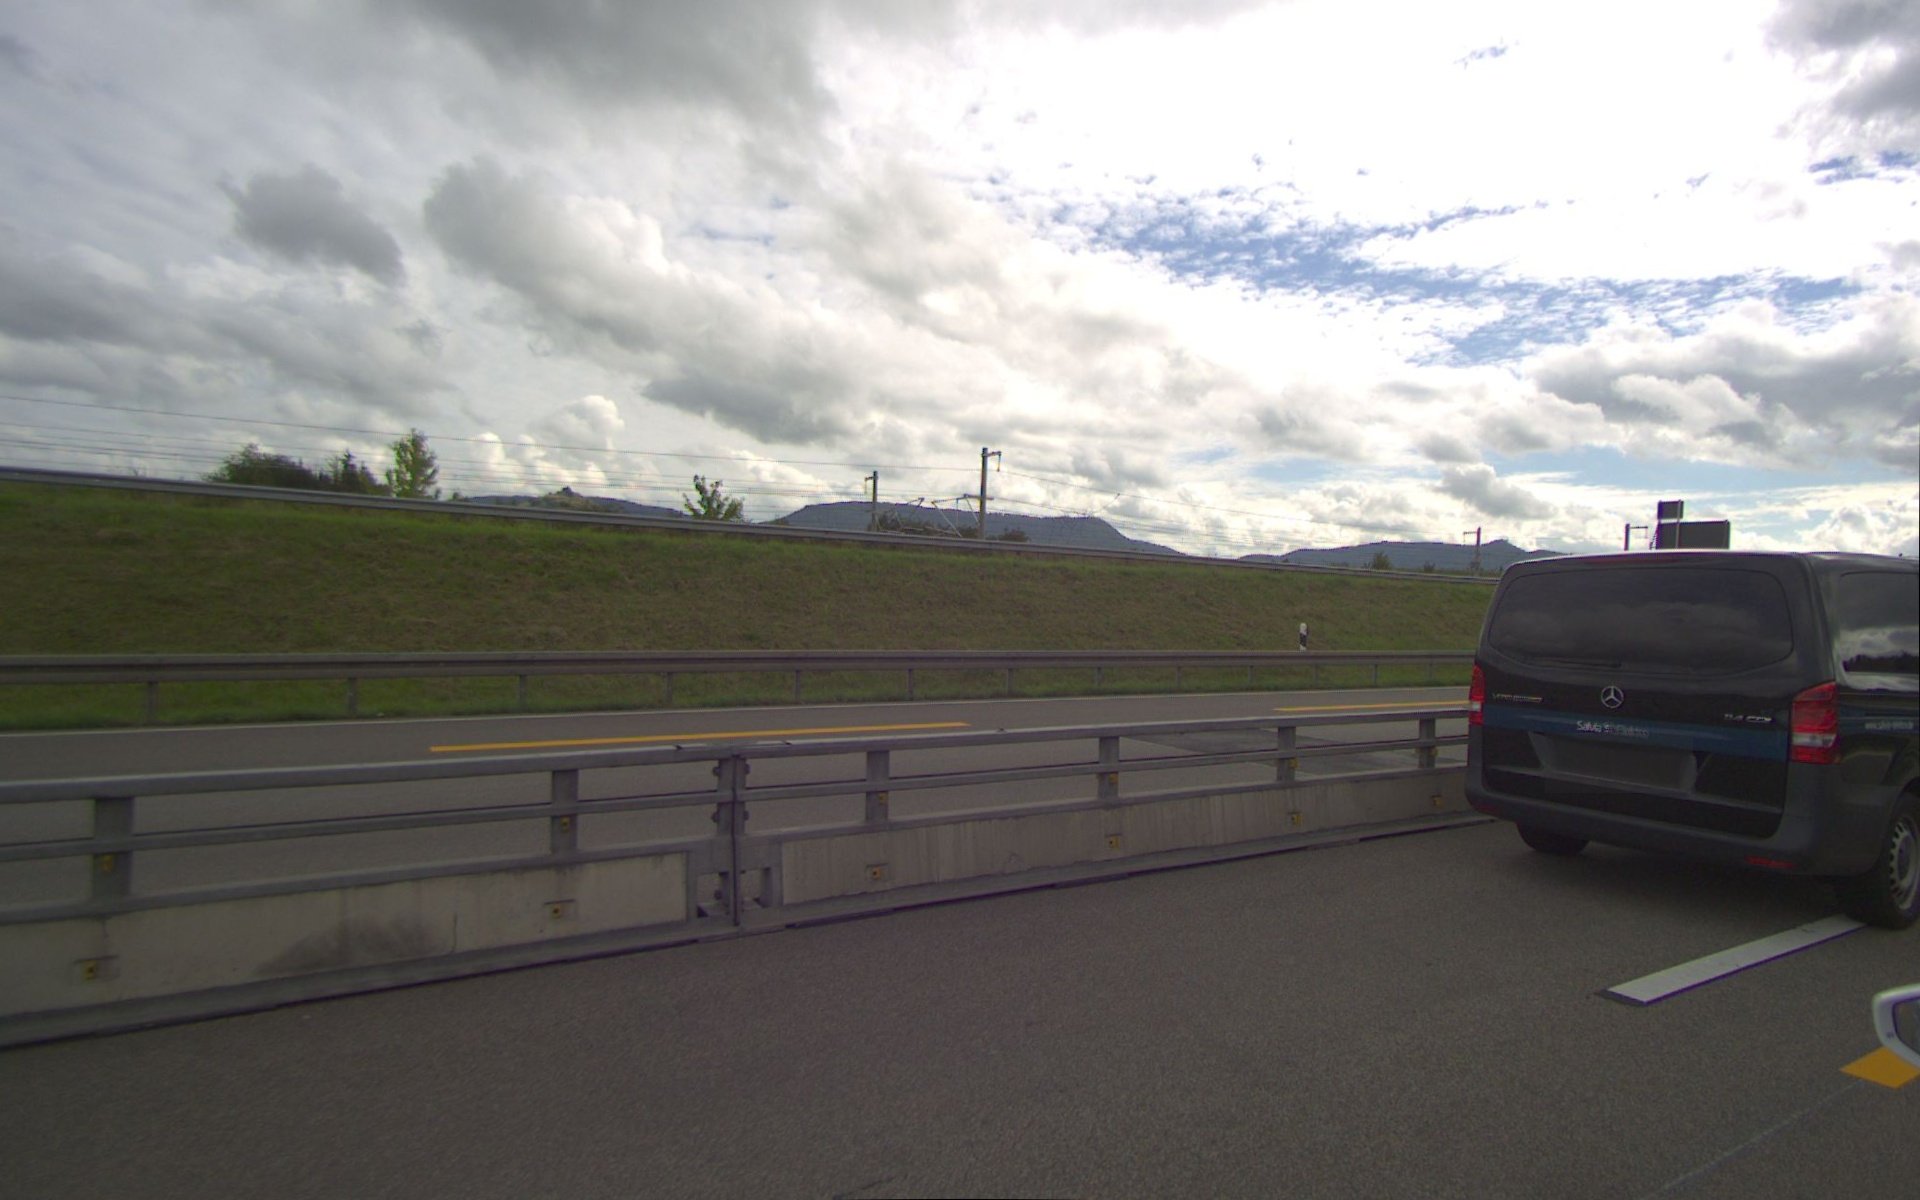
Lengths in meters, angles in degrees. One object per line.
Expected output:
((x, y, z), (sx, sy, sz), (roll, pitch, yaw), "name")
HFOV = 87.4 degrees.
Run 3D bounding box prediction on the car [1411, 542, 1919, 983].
((5.574, 0.770, 6.543), (5.544, 1.867, 1.984), (2, -1, -31), "car")
